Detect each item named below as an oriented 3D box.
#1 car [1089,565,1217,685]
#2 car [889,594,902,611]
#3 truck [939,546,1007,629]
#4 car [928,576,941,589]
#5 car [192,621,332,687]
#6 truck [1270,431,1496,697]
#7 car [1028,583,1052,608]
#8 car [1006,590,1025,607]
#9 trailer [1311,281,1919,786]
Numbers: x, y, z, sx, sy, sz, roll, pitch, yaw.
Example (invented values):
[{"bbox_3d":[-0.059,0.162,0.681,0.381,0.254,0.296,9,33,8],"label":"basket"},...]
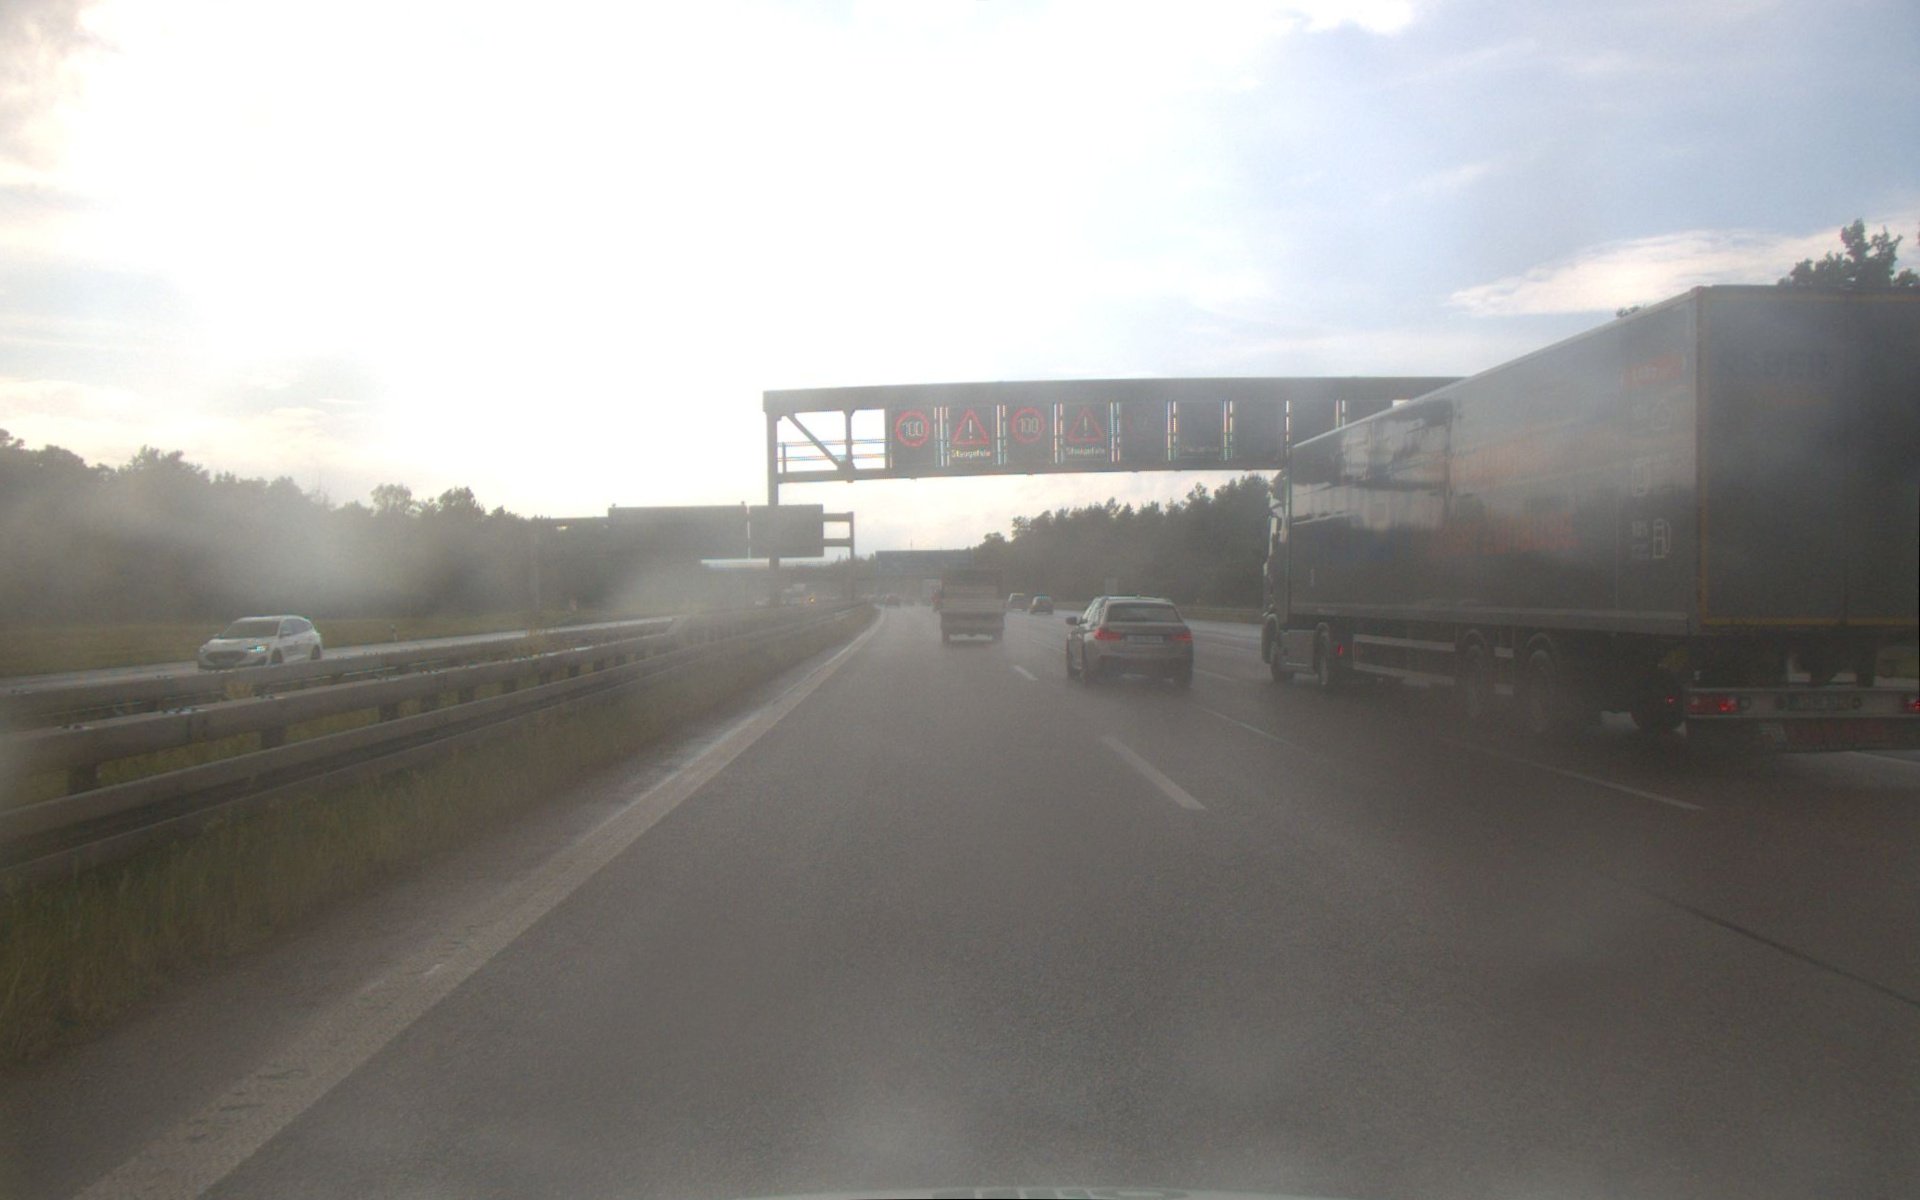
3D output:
[{"bbox_3d":[3.313,0.390,29.166,2.034,1.918,5.014,0,0,5],"label":"car"},{"bbox_3d":[-8.213,0.344,210.056,1.584,2.049,3.999,1,0,-1],"label":"car"},{"bbox_3d":[0.462,-0.419,53.179,2.093,2.532,5.314,0,0,1],"label":"truck"},{"bbox_3d":[-3.946,-2.732,258.516,1.953,2.049,3.999,1,0,-1],"label":"car"},{"bbox_3d":[-17.651,1.327,42.052,1.812,1.470,4.319,-2,0,-2],"label":"car"},{"bbox_3d":[6.786,-0.553,27.225,2.247,3.935,5.391,0,0,-1],"label":"truck"},{"bbox_3d":[6.756,-0.419,140.565,1.952,2.049,4.001,1,0,2],"label":"car"},{"bbox_3d":[5.626,-0.193,168.000,1.705,1.718,3.999,0,0,-1],"label":"car"},{"bbox_3d":[6.936,-0.567,20.062,2.276,4.071,13.409,0,0,-1],"label":"trailer"}]
